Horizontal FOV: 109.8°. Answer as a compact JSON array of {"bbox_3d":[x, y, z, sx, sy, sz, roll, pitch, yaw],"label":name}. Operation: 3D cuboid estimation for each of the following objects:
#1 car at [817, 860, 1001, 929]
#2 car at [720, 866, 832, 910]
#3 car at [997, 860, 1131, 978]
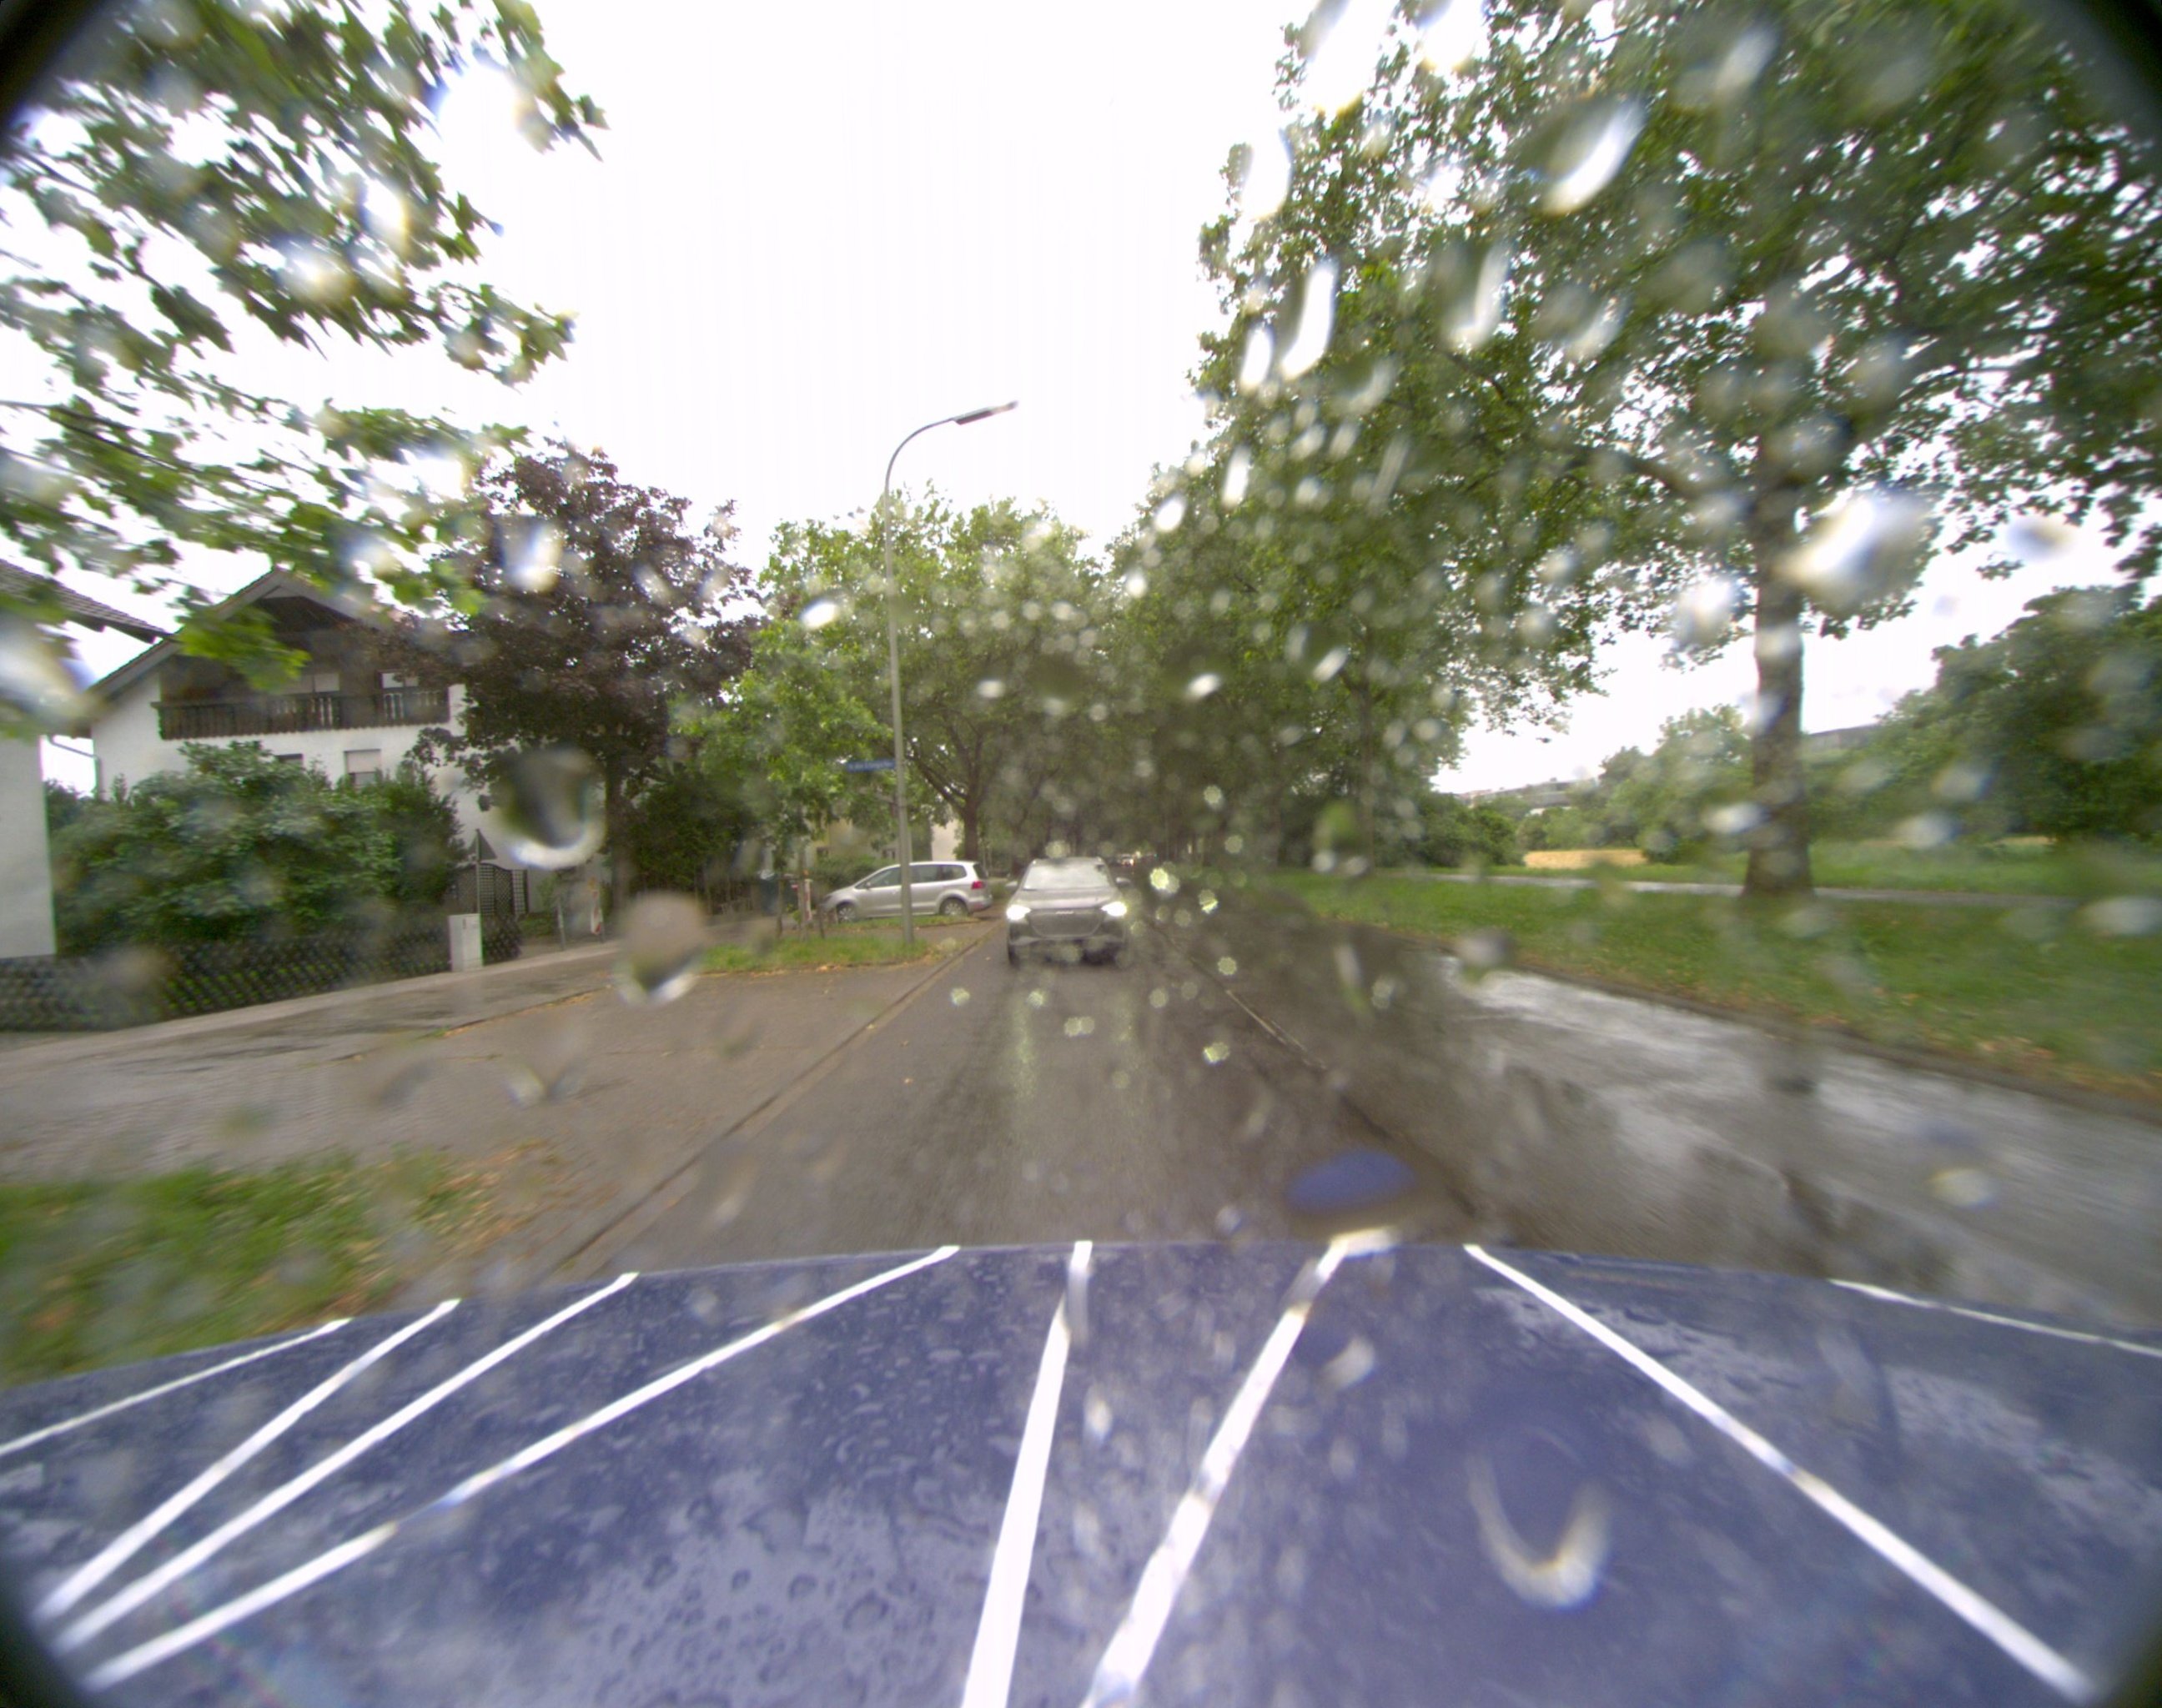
[{"bbox_3d":[-4.764,1.099,21.599,4.701,1.651,1.976,-2,0,-1],"label":"car"},{"bbox_3d":[-12.681,1.409,31.756,3.853,1.603,1.843,-2,0,2],"label":"car"},{"bbox_3d":[-0.200,0.956,13.134,1.862,1.608,4.424,-2,0,1],"label":"car"}]
